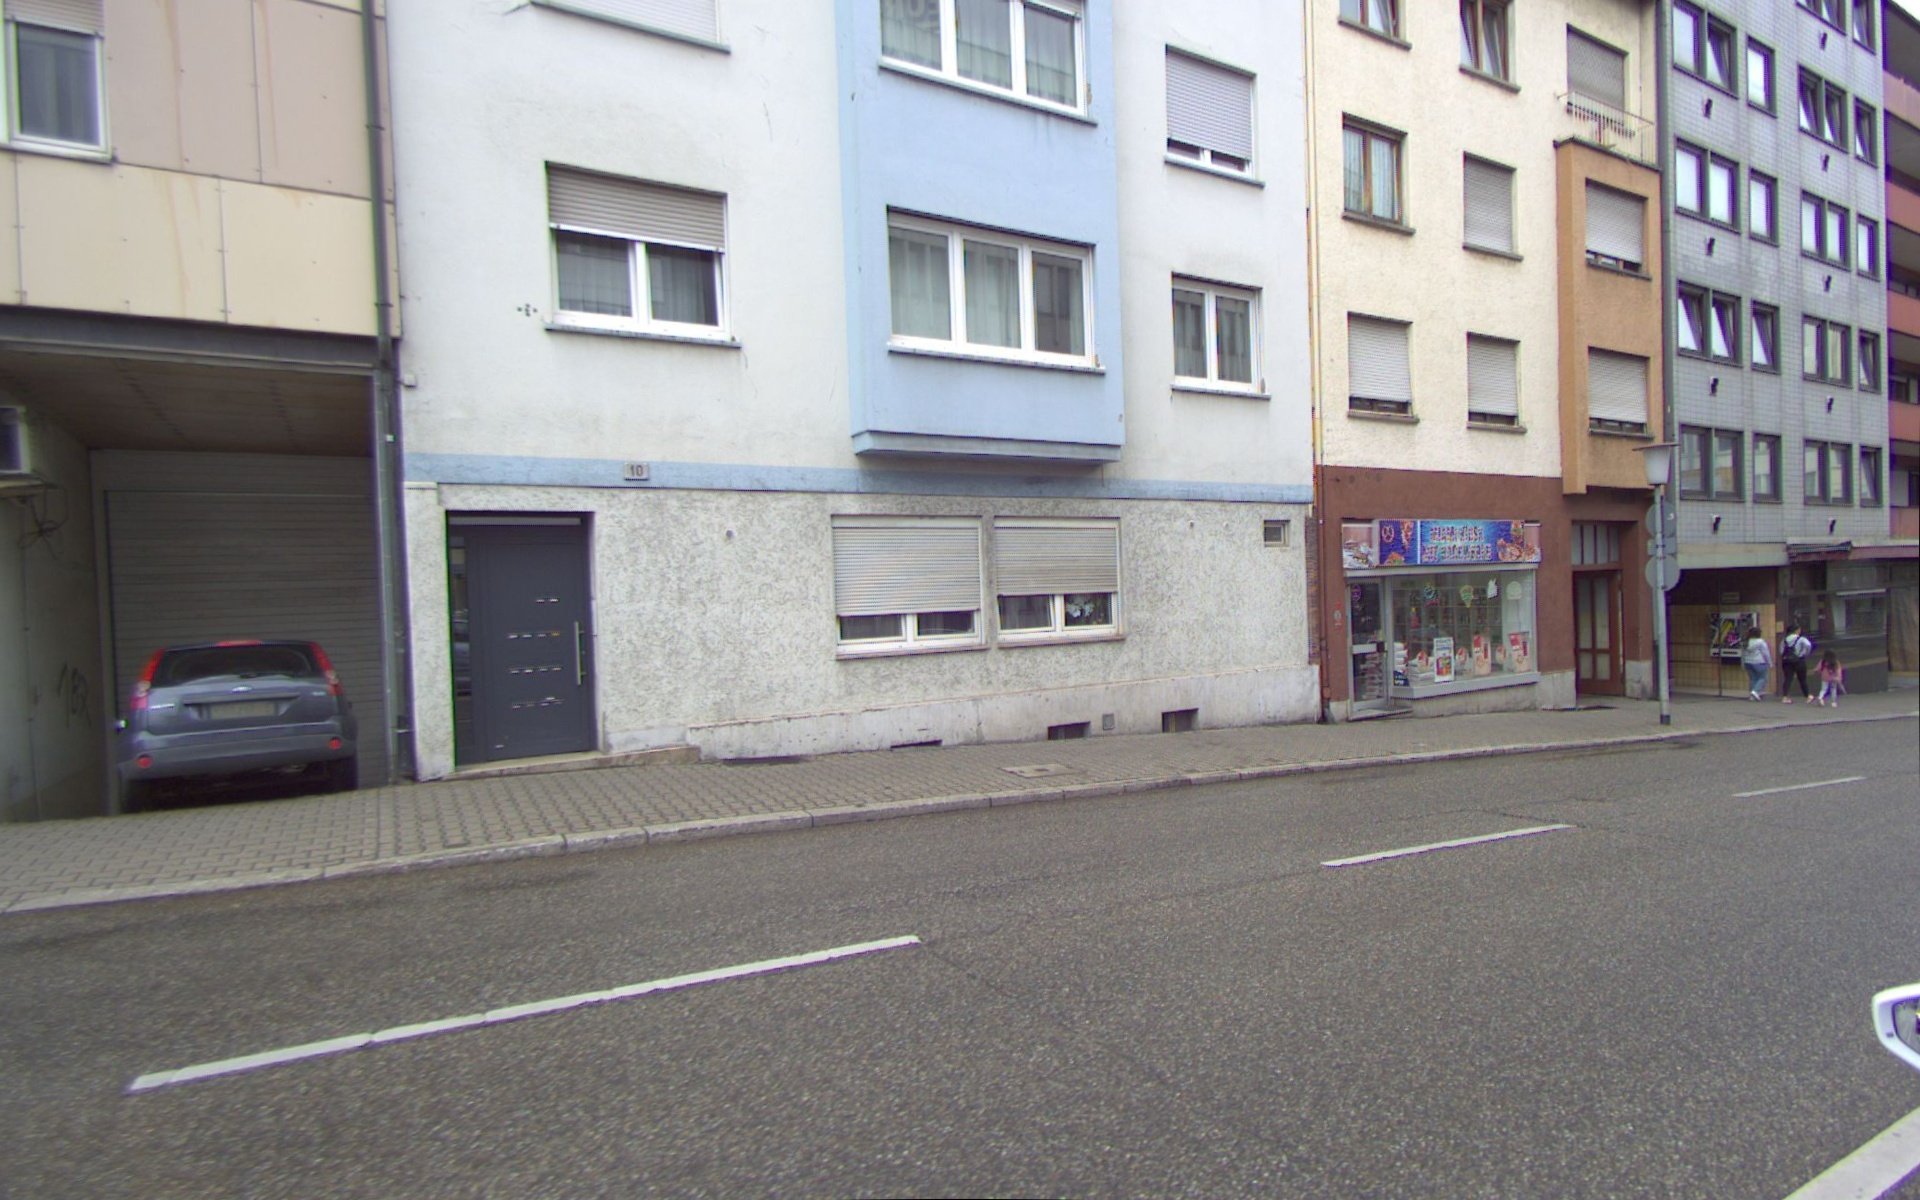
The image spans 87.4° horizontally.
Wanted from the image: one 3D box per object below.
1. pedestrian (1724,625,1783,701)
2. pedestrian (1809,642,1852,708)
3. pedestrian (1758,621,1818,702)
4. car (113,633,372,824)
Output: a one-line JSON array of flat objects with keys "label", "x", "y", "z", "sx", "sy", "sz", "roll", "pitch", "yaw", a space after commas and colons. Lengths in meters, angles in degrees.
[{"label": "pedestrian", "x": 17.284, "y": 1.356, "z": 21.881, "sx": 0.717, "sy": 1.581, "sz": 0.820, "roll": 1, "pitch": 1, "yaw": -39}, {"label": "pedestrian", "x": 18.427, "y": 1.573, "z": 21.261, "sx": 0.717, "sy": 1.341, "sz": 0.529, "roll": 1, "pitch": 1, "yaw": -39}, {"label": "pedestrian", "x": 18.193, "y": 1.334, "z": 22.072, "sx": 0.717, "sy": 1.712, "sz": 0.820, "roll": 1, "pitch": 1, "yaw": -39}, {"label": "car", "x": -6.859, "y": 1.226, "z": 9.624, "sx": 1.663, "sy": 1.367, "sz": 3.962, "roll": -1, "pitch": -6, "yaw": -37}]
